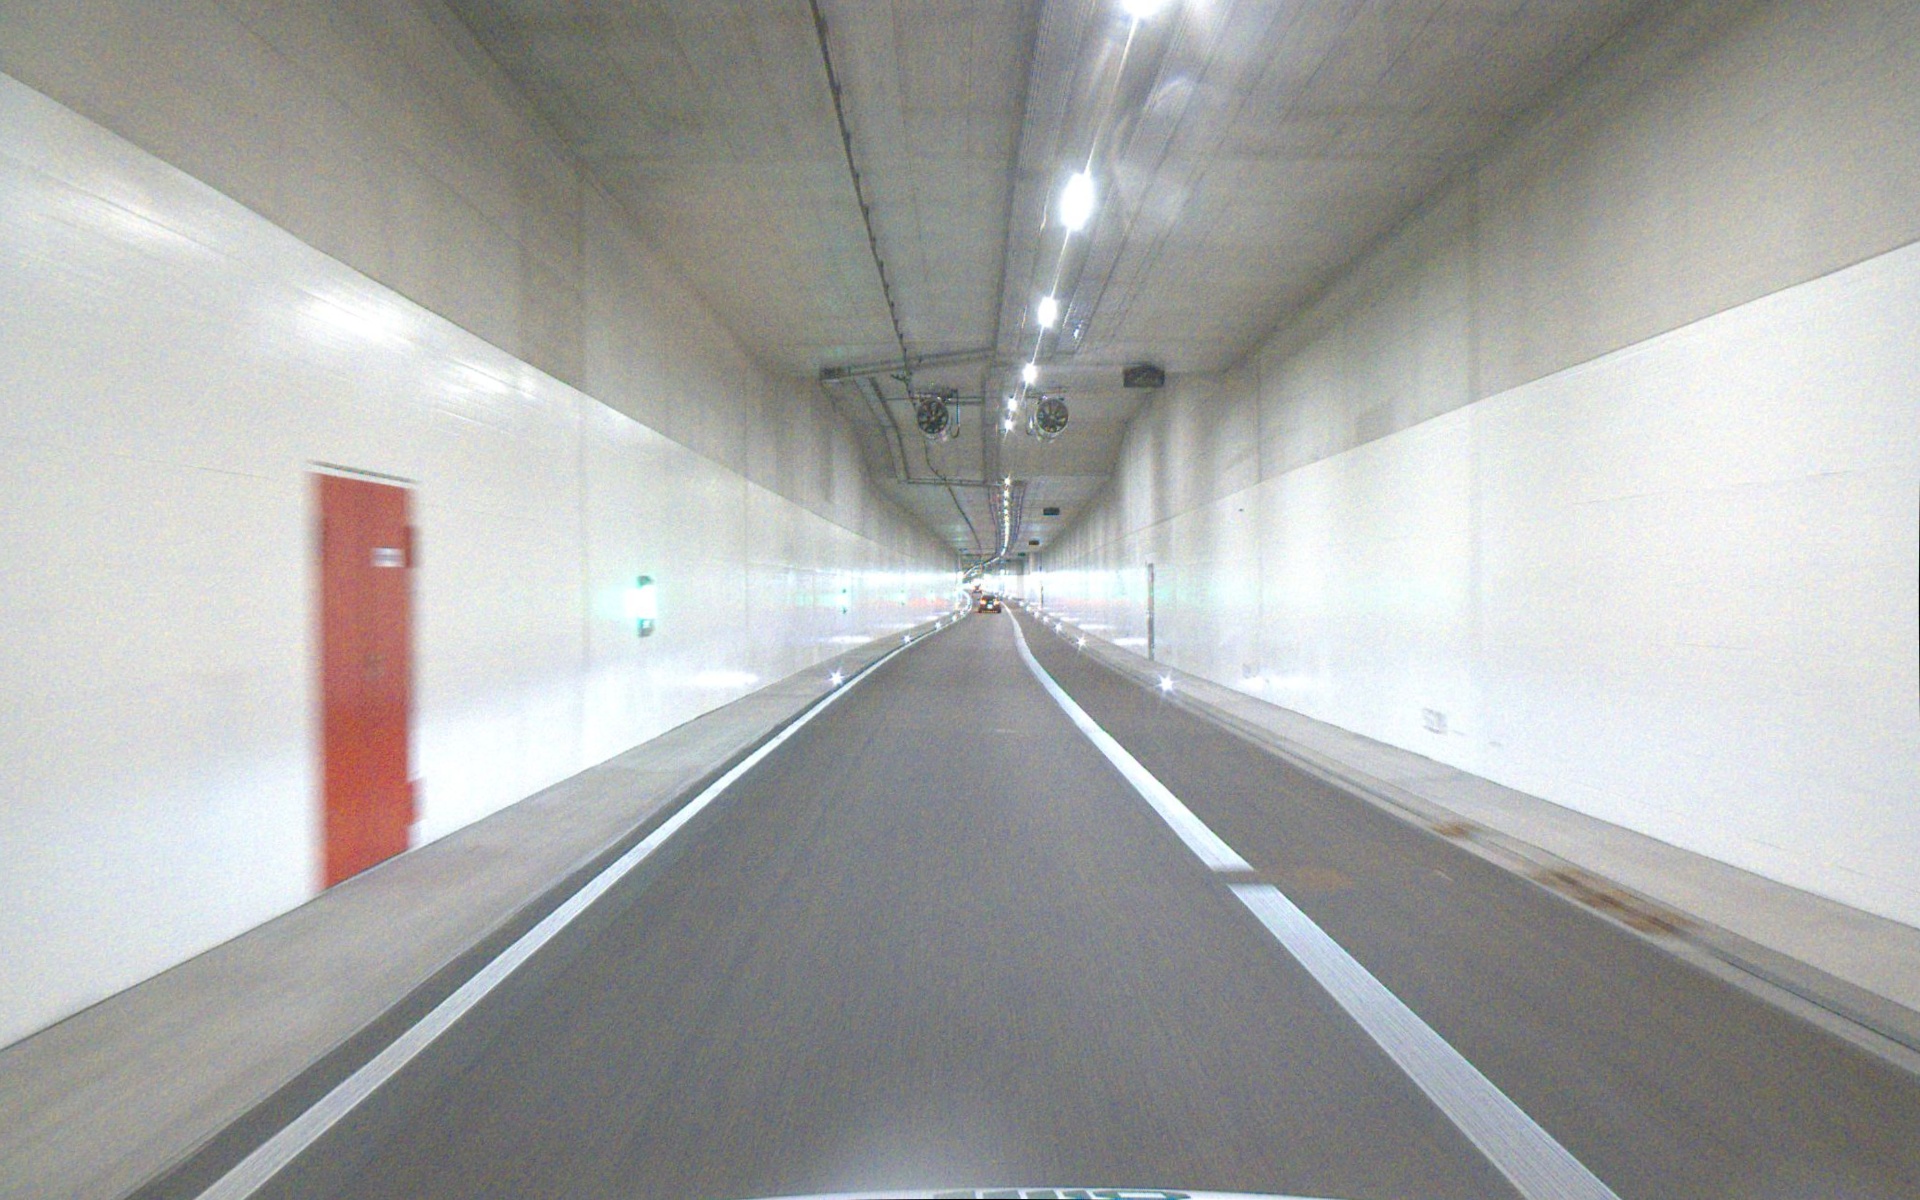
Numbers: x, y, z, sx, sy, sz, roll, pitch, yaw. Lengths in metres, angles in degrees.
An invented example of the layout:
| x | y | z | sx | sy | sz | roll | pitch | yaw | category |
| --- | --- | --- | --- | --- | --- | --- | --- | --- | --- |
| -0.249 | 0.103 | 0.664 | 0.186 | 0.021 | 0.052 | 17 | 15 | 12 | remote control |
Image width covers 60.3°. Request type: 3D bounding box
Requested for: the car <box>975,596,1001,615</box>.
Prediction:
| x | y | z | sx | sy | sz | roll | pitch | yaw | category |
| --- | --- | --- | --- | --- | --- | --- | --- | --- | --- |
| 2.235 | 0.417 | 133.080 | 1.953 | 1.445 | 3.999 | 1 | 0 | -1 | car |
